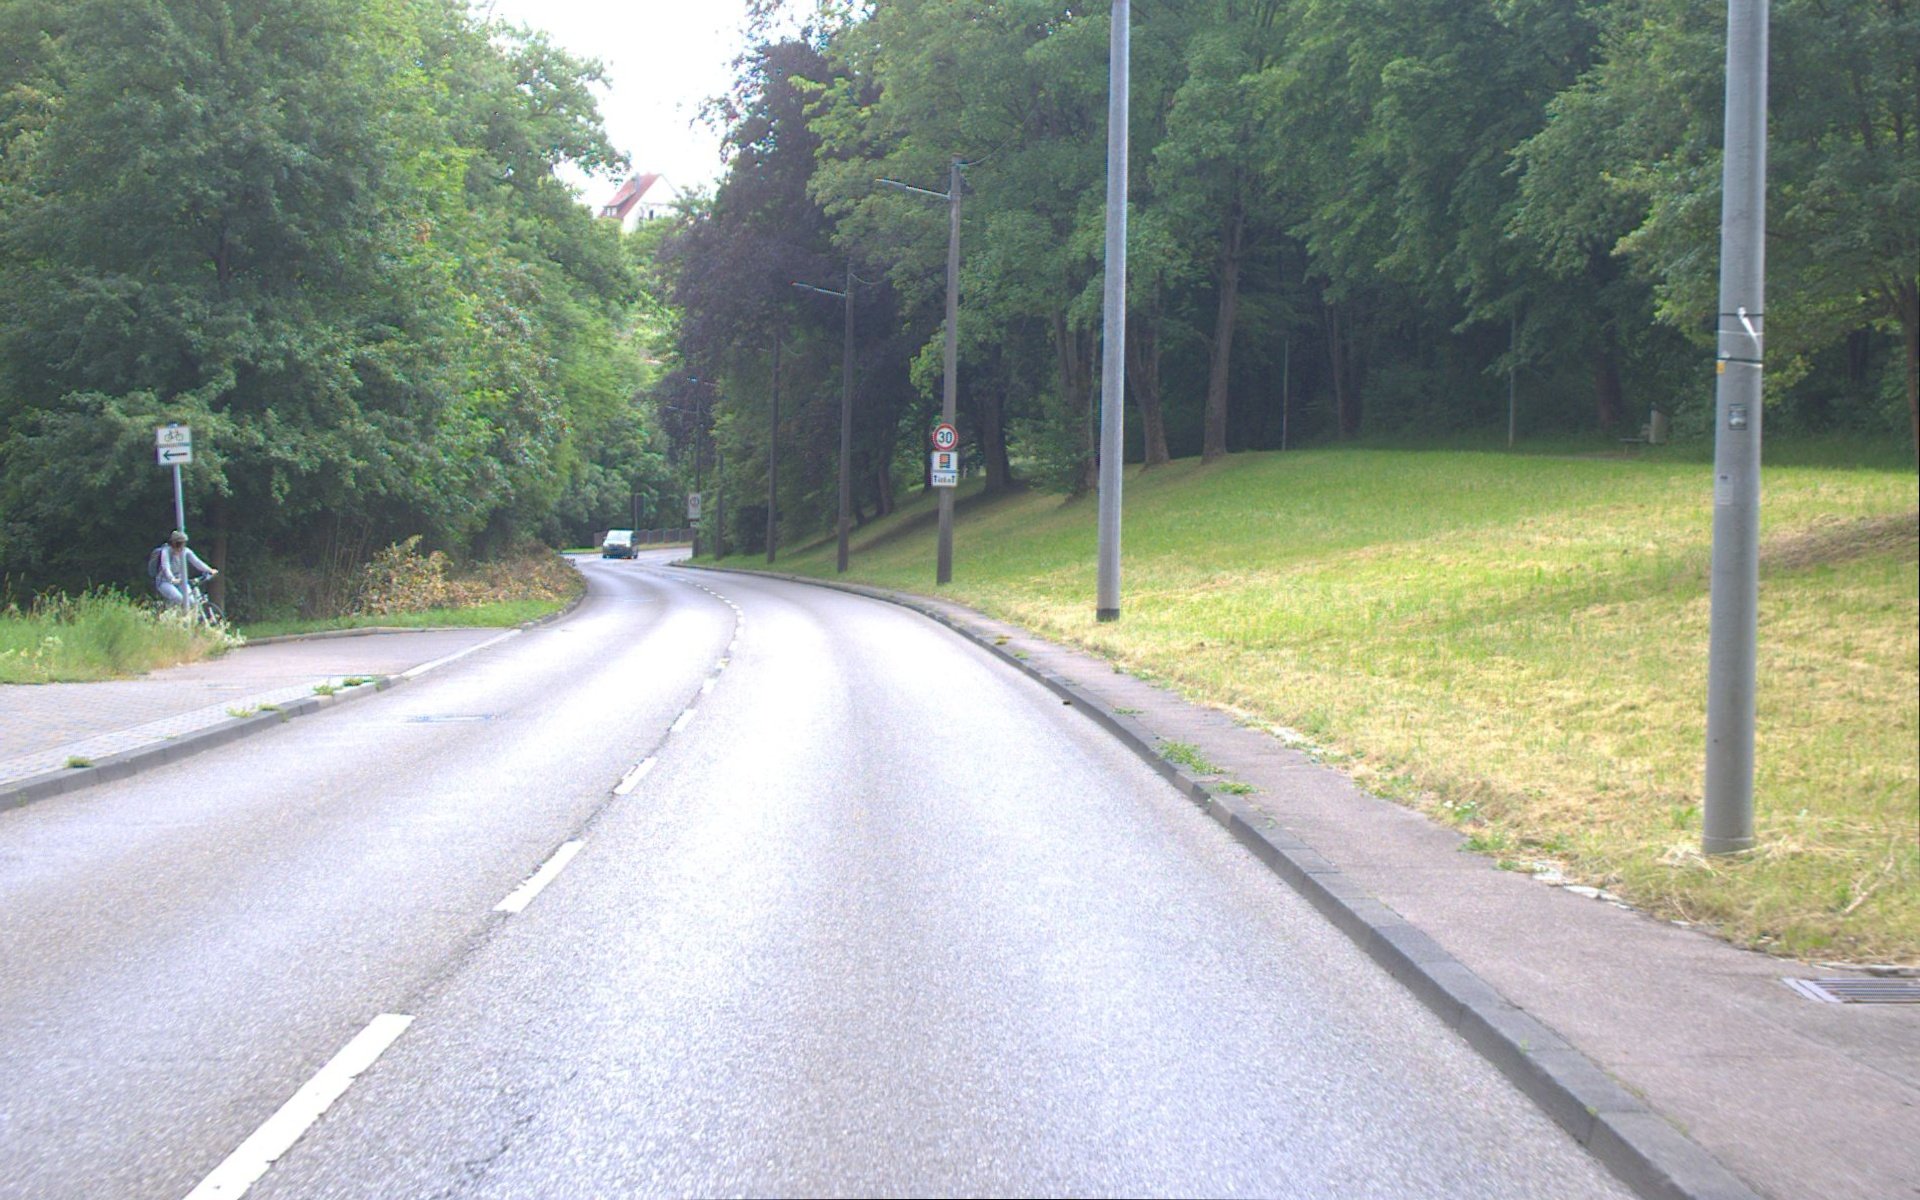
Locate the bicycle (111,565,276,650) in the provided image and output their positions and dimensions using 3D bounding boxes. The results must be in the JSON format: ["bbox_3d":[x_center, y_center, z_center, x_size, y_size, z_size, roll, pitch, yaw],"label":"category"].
[{"bbox_3d":[-10.090,0.091,45.189,2.441,1.033,0.829,2,1,42],"label":"bicycle"}]

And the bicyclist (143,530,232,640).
[{"bbox_3d":[-10.179,-0.196,45.297,0.781,1.423,0.827,1,1,43],"label":"bicyclist"}]
